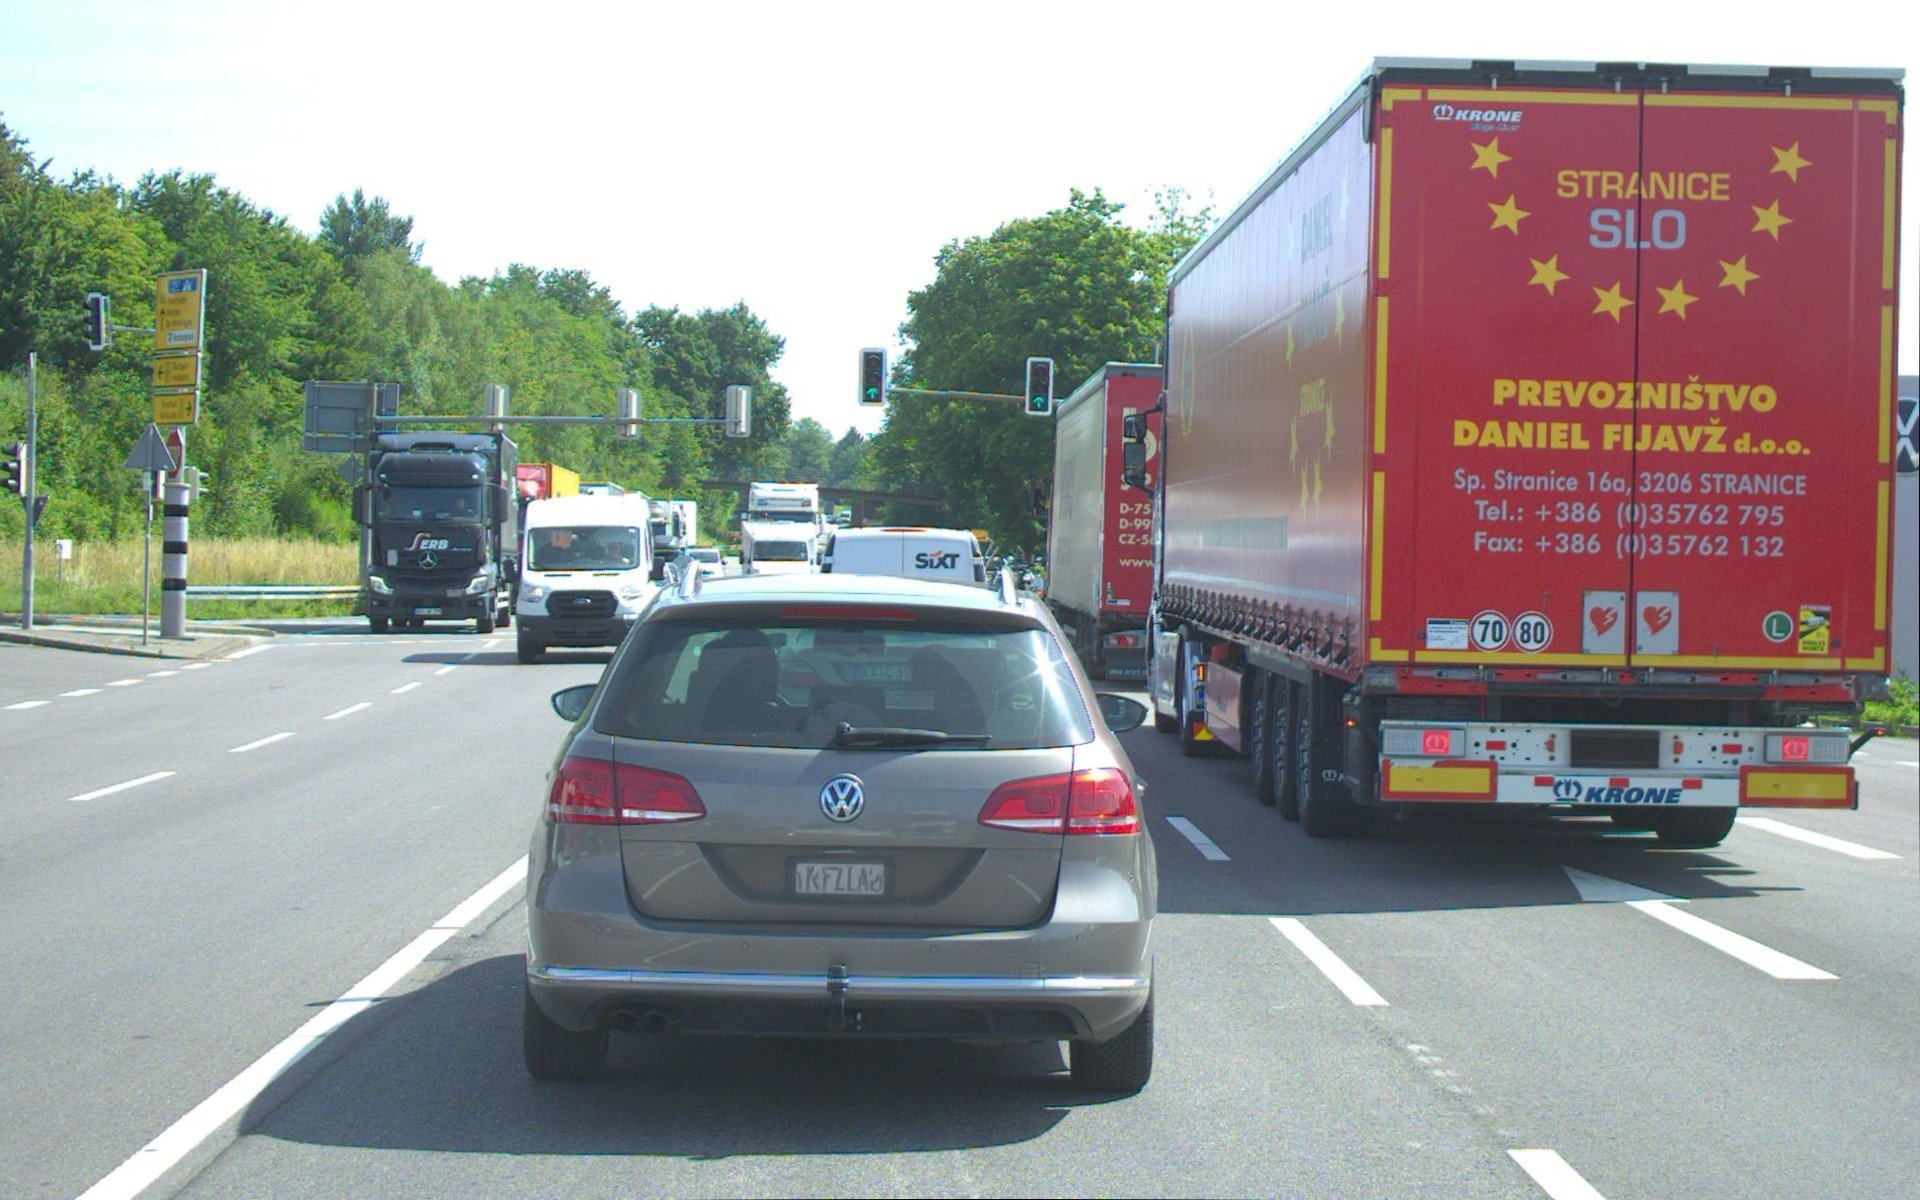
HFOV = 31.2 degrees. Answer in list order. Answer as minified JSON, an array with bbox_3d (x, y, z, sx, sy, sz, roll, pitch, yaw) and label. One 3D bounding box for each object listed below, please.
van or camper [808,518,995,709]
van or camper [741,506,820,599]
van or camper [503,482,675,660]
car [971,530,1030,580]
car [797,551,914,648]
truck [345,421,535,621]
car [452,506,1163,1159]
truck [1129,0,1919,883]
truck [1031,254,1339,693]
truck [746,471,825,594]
[{"bbox_3d":[-0.630,0.114,36.825,1.852,1.899,3.785,1,1,-1],"label":"van or camper"},{"bbox_3d":[-5.677,-1.477,109.554,2.224,2.831,5.711,1,0,-1],"label":"van or camper"},{"bbox_3d":[-5.558,-0.454,52.012,2.173,2.542,4.171,1,1,-1],"label":"van or camper"},{"bbox_3d":[1.265,-1.425,109.312,1.727,1.514,3.312,2,0,-1],"label":"car"},{"bbox_3d":[-1.691,-0.005,56.532,1.727,1.514,3.312,1,0,1],"label":"car"},{"bbox_3d":[-10.324,-1.554,68.885,2.812,3.773,6.990,-1,1,-1],"label":"truck"},{"bbox_3d":[-0.305,0.567,10.390,1.790,1.633,3.503,0,0,3],"label":"car"},{"bbox_3d":[3.226,-0.916,24.647,2.957,4.255,16.585,1,1,-1],"label":"truck"},{"bbox_3d":[2.864,-1.629,49.678,3.062,5.203,17.008,1,1,-1],"label":"truck"},{"bbox_3d":[-6.278,-2.440,124.485,2.553,4.293,7.596,0,1,-1],"label":"truck"}]
